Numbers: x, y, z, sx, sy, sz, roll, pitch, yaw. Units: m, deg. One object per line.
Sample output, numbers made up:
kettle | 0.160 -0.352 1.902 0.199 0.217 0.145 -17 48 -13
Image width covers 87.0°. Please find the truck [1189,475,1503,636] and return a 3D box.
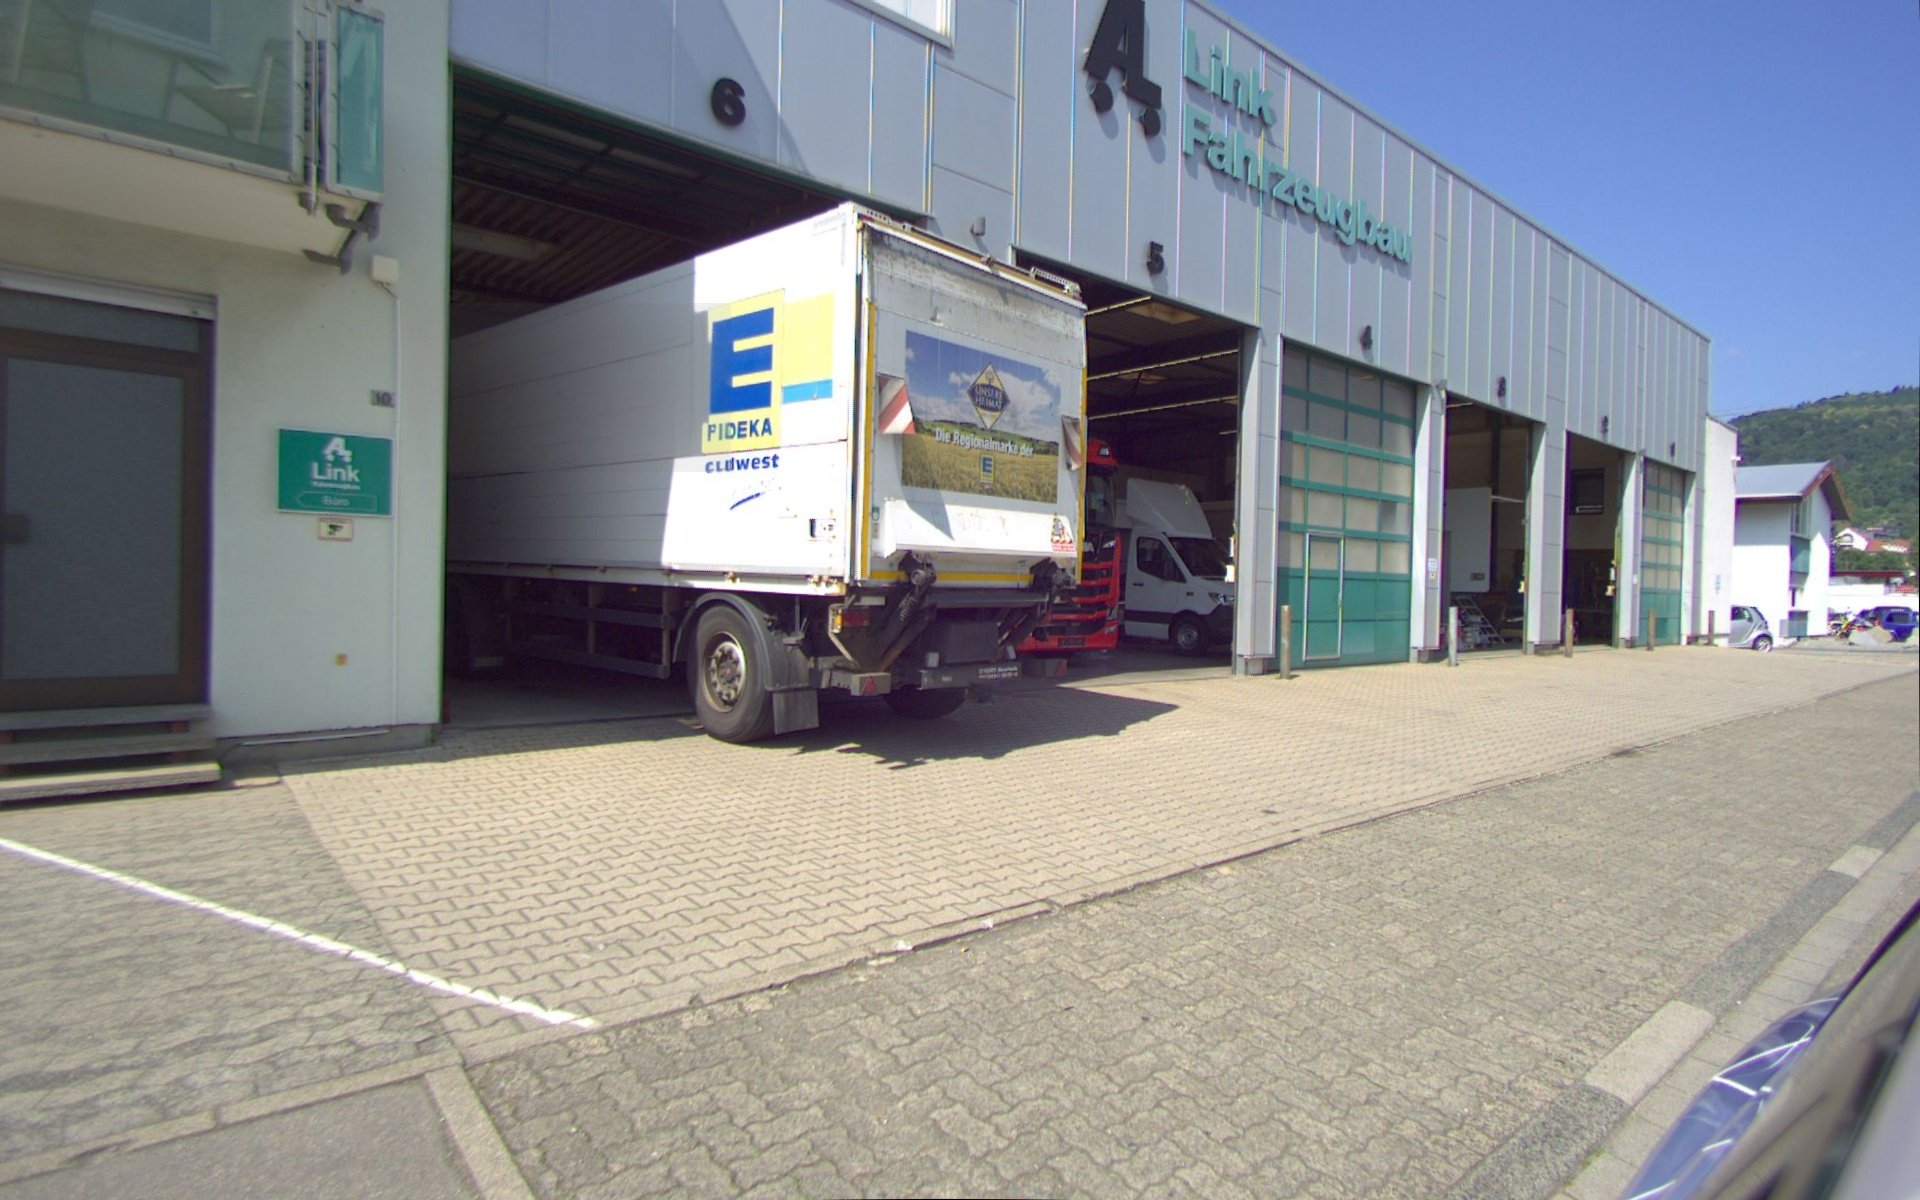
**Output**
truck | 10.336 -1.159 28.002 2.577 3.829 7.854 0 1 -39

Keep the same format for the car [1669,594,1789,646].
car | 24.558 0.631 32.377 2.772 1.553 1.311 1 -1 3

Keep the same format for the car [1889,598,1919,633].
car | 38.453 0.648 39.573 1.427 1.356 2.975 1 1 -39

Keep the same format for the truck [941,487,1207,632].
truck | 2.934 -1.075 28.289 2.720 3.502 7.568 0 1 -40

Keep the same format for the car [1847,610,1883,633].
car | 57.741 1.348 64.562 3.134 1.396 1.449 -1 -1 -44

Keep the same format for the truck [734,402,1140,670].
truck | -0.854 -0.927 16.929 2.435 3.446 7.970 0 1 -39

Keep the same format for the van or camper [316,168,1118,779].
van or camper | -3.881 -0.958 11.202 11.600 3.739 2.738 2 1 44

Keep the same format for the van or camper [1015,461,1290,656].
van or camper | 3.510 -0.724 19.356 1.966 3.246 5.049 0 1 -42
